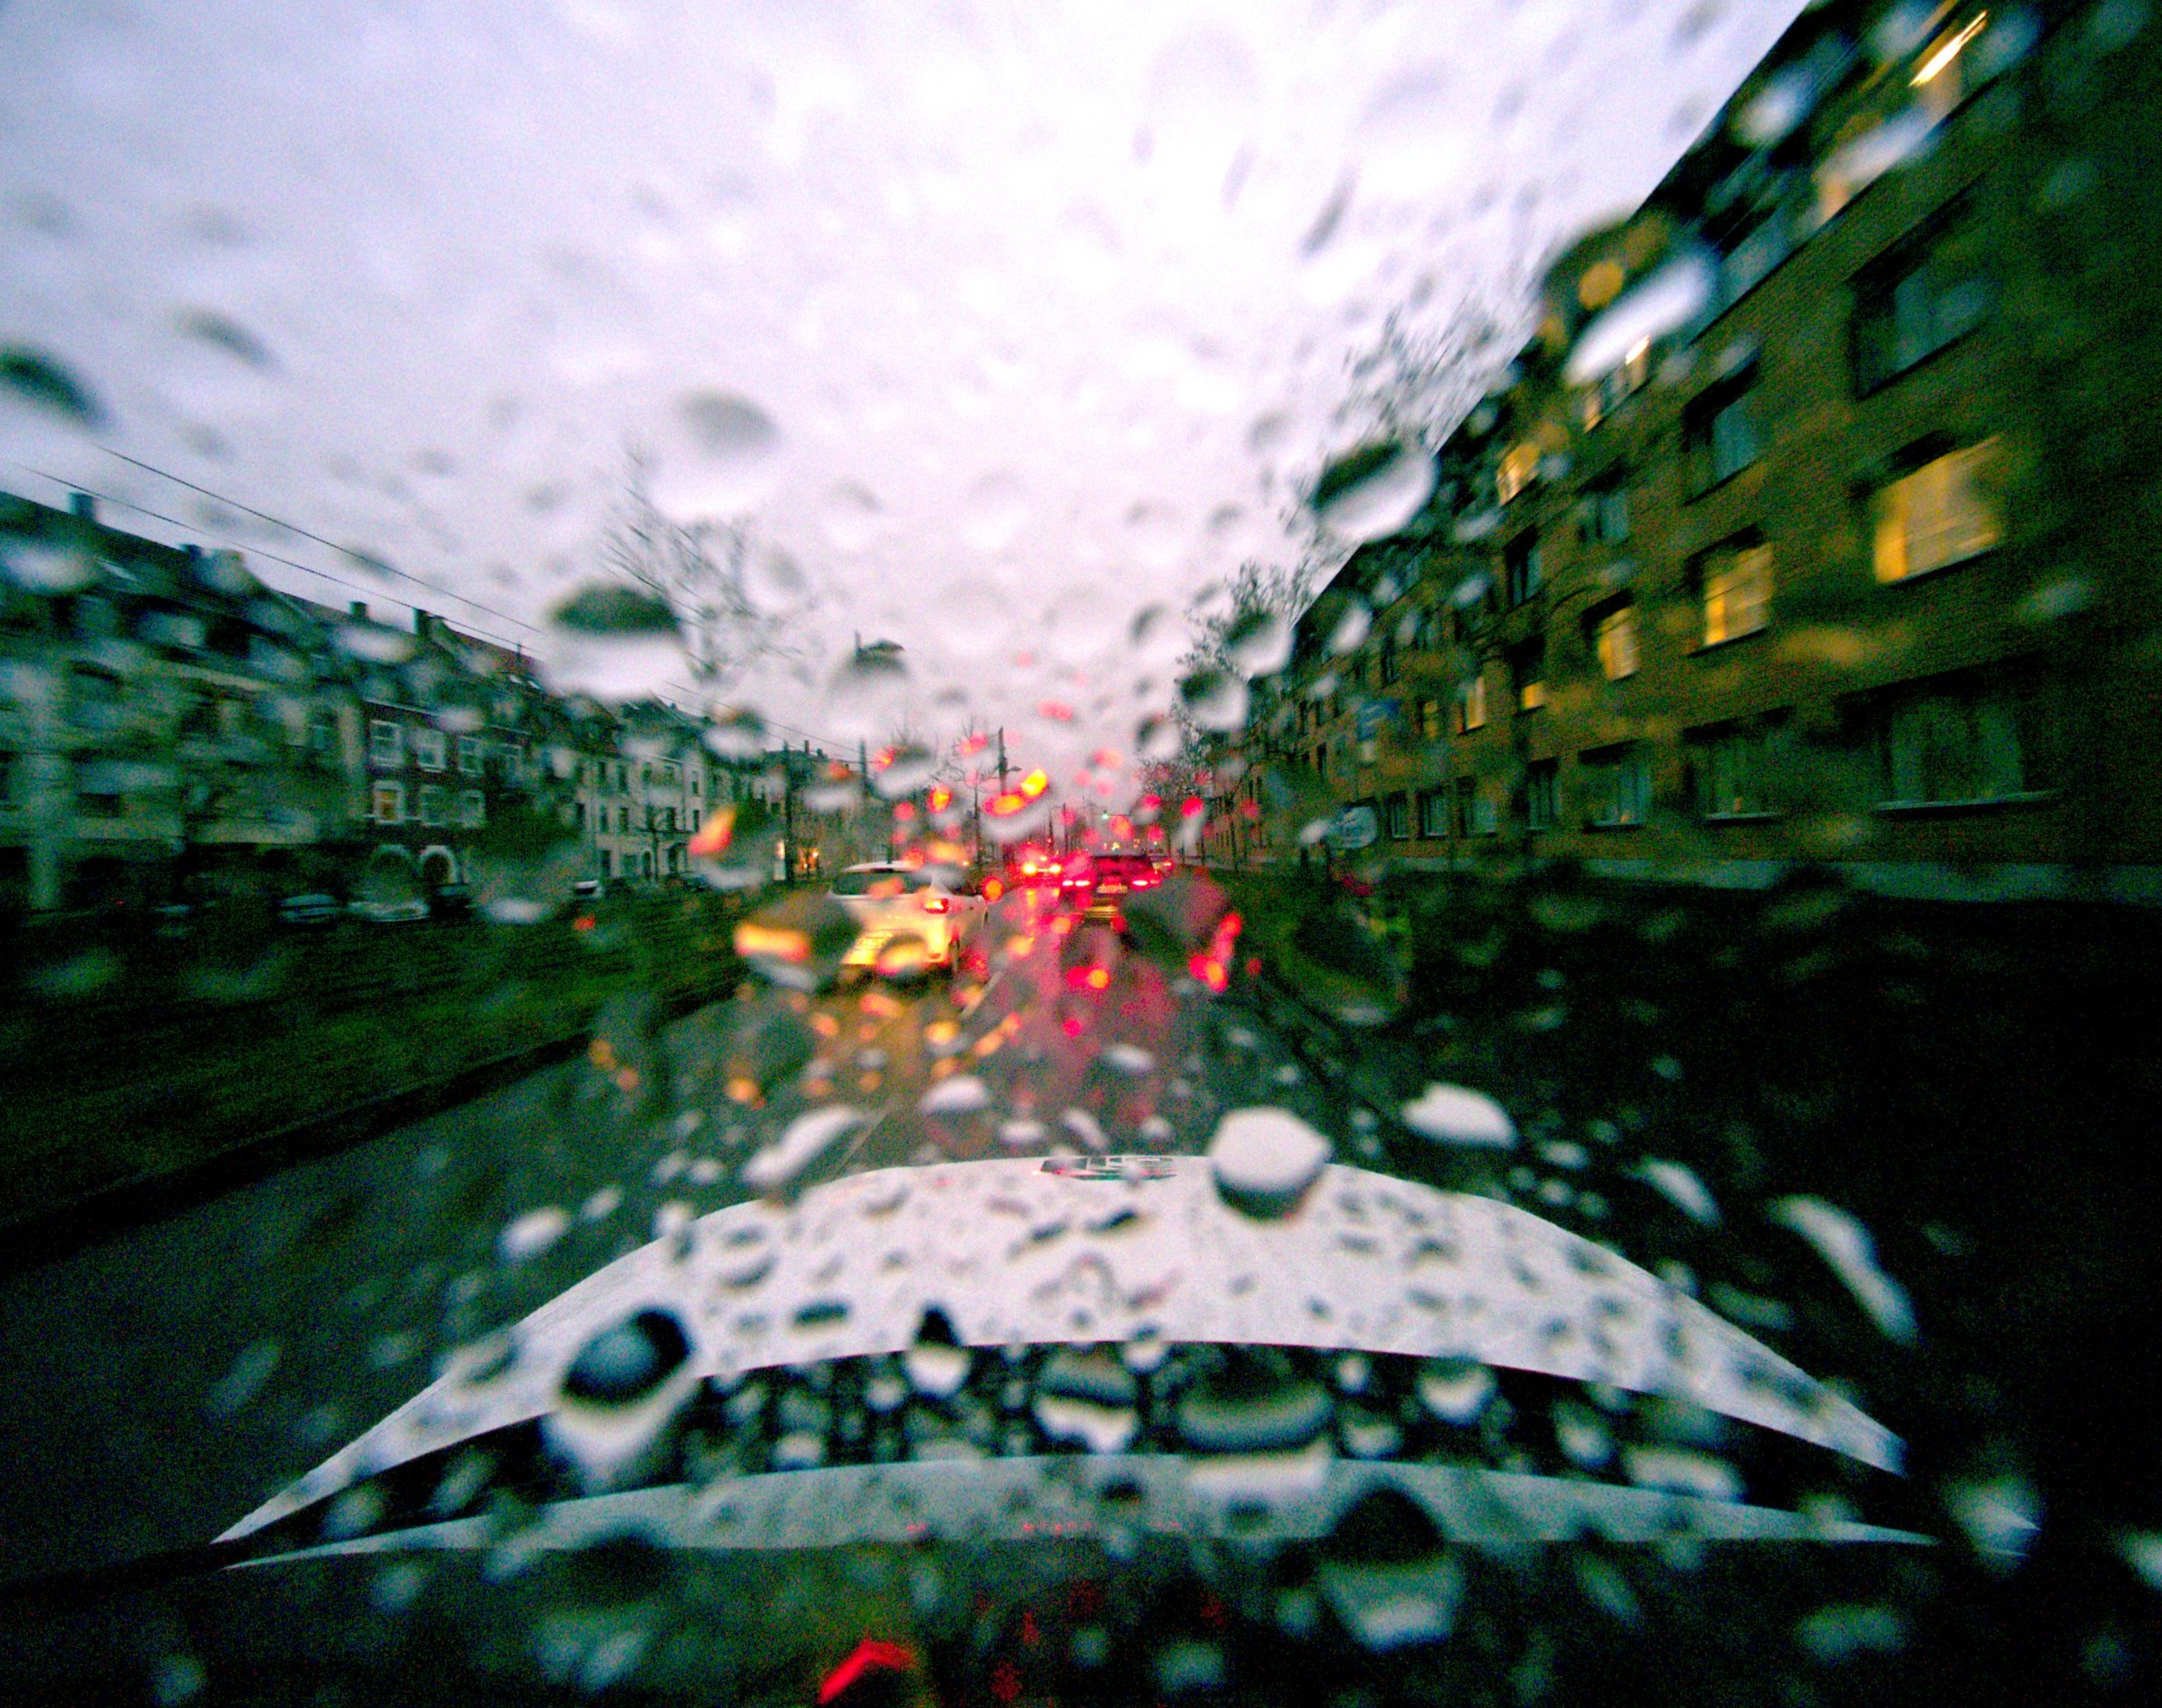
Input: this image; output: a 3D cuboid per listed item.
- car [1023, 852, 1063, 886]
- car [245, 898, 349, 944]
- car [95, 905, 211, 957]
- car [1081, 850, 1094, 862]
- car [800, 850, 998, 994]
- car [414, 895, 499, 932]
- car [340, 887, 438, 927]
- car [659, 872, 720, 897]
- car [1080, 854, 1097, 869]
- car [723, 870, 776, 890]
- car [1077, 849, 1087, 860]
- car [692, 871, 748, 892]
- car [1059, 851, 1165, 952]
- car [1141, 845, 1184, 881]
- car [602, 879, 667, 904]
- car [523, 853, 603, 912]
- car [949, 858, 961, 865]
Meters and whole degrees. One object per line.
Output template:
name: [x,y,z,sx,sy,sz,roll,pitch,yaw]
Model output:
car: [-1.917,0.749,41.655,1.665,1.600,4.055,-1,0,2]
car: [-27.403,2.308,28.441,3.948,1.332,2.013,-3,0,37]
car: [-26.288,2.115,23.054,3.948,1.169,2.013,-3,0,40]
car: [1.115,0.288,135.073,1.987,1.914,4.000,-3,0,0]
car: [-2.284,0.783,11.311,1.665,1.600,4.055,-1,0,2]
car: [-26.874,2.539,35.008,3.948,1.332,2.013,-3,0,39]
car: [-27.048,2.065,31.815,3.948,1.332,2.013,-3,0,36]
car: [-26.413,2.068,54.952,3.948,1.486,2.013,-3,0,36]
car: [0.966,0.970,104.659,1.933,1.838,4.003,-3,0,3]
car: [-25.086,1.990,61.552,3.948,1.332,2.013,-3,0,39]
car: [0.213,0.150,159.962,1.809,2.013,4.003,-3,0,3]
car: [-25.763,1.978,58.039,3.948,1.332,2.013,-3,0,39]
car: [0.580,0.770,15.217,1.665,1.600,4.055,-1,0,2]
car: [4.246,0.437,42.973,1.986,1.744,4.002,-3,0,2]
car: [-26.585,2.223,48.417,3.948,1.332,2.013,-3,0,39]
car: [-26.873,1.478,42.168,5.793,2.797,2.012,-3,0,43]
car: [-25.447,1.517,164.286,1.770,1.354,3.557,-3,0,1]
